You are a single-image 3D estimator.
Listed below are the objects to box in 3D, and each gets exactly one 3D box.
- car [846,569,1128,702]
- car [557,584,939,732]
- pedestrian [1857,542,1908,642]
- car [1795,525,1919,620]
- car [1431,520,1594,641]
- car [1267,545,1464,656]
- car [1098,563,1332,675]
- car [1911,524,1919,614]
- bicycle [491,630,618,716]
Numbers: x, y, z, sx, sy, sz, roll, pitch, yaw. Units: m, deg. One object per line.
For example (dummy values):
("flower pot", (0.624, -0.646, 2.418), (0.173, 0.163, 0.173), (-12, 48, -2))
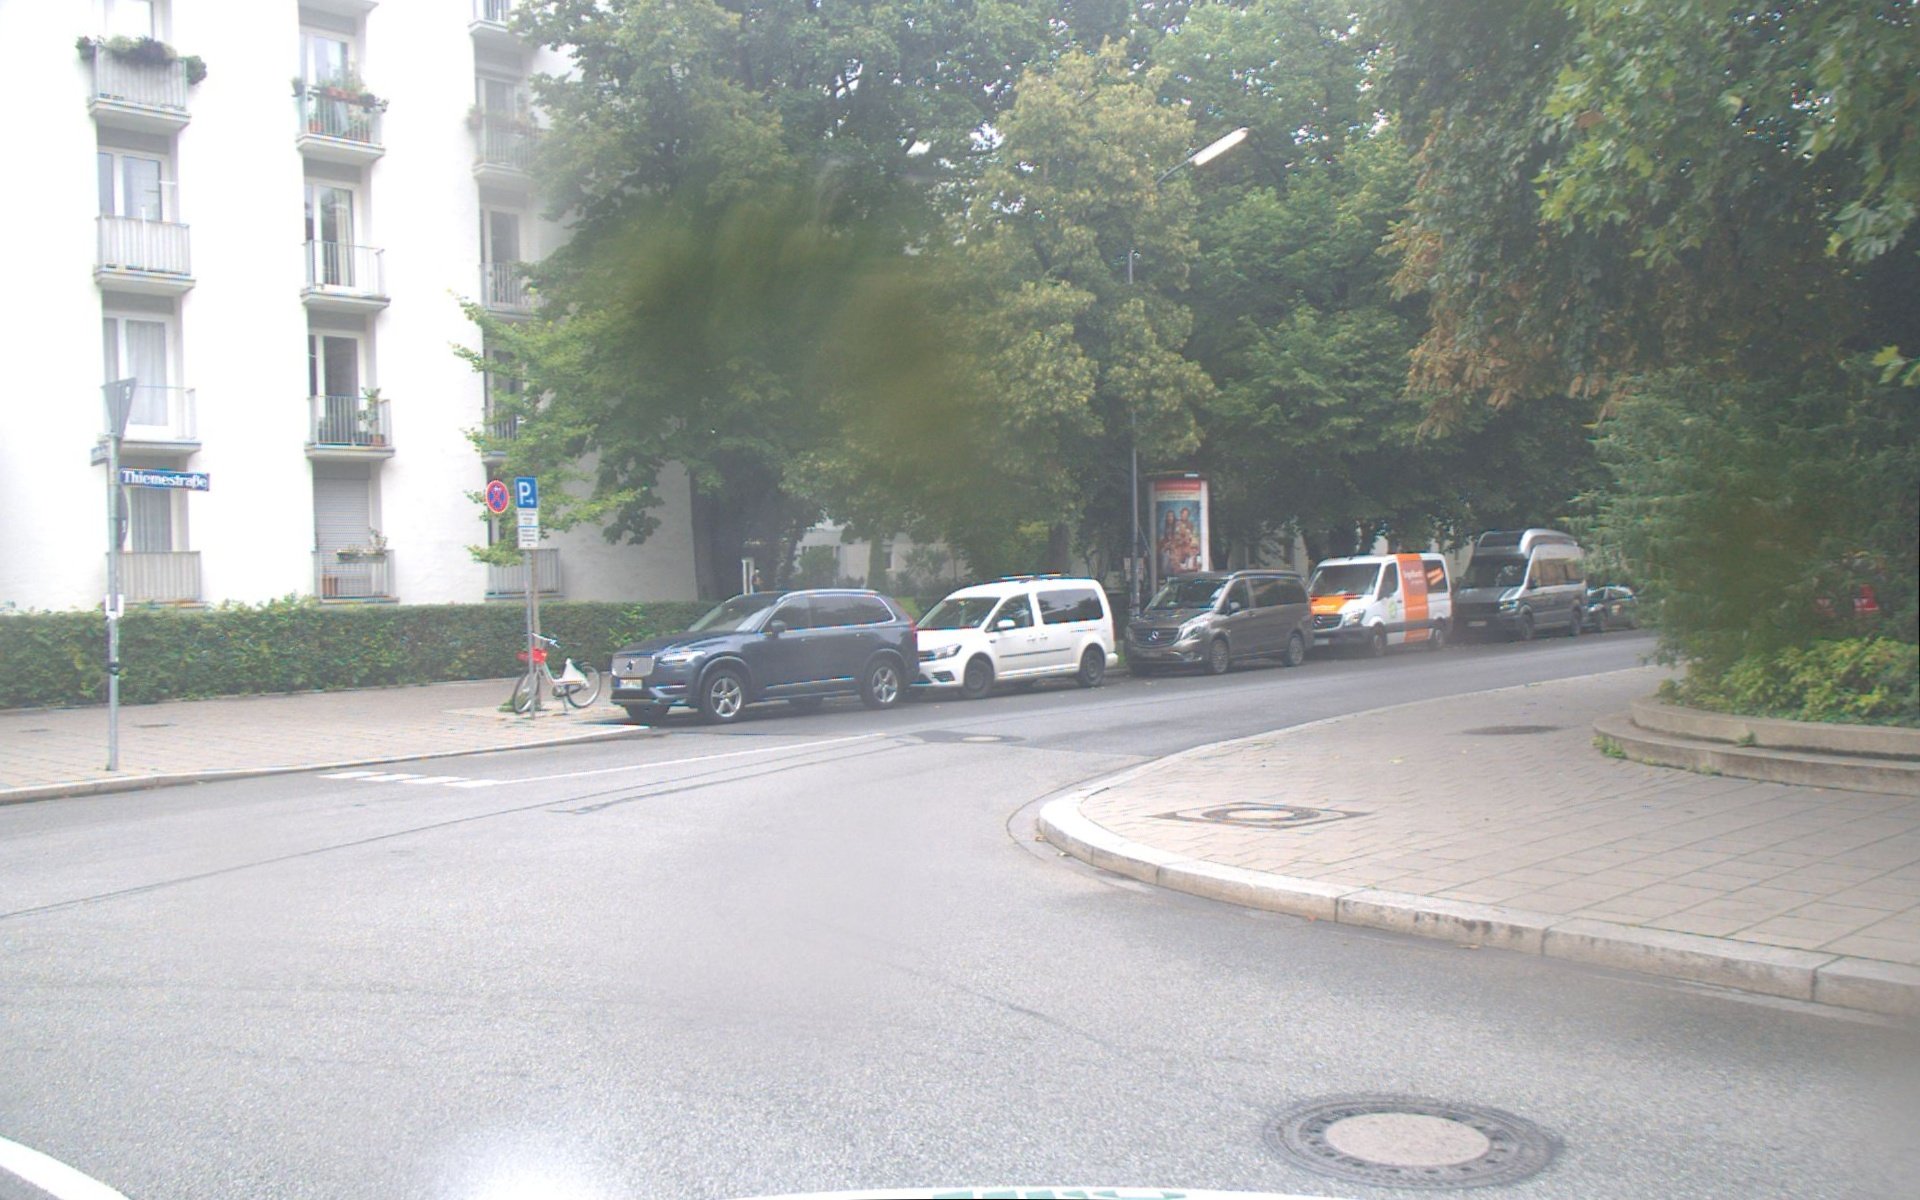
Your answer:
("car", (0.544, 0.520, 27.534), (2.052, 1.937, 4.831), (-1, 1, 41))
("car", (-2.855, 0.727, 23.384), (2.054, 1.749, 5.272), (-1, 1, 42))
("pedestrian", (16.126, -0.144, 28.924), (0.620, 1.696, 0.697), (-2, 0, 18))
("car", (20.181, -0.632, 36.876), (1.880, 1.970, 4.947), (-1, 1, 38))
("car", (15.166, -0.566, 45.147), (2.139, 3.055, 6.203), (-1, 1, 39))
("car", (9.452, -0.030, 38.214), (2.052, 2.304, 5.573), (-4, -1, 40))
("car", (5.154, 0.321, 32.768), (1.994, 1.941, 5.641), (-3, 0, 38))
("car", (29.944, -0.989, 49.121), (1.963, 2.602, 5.402), (-1, 1, 40))
("bicycle", (-5.819, 1.033, 23.829), (0.737, 1.104, 1.781), (-2, 1, 30))
